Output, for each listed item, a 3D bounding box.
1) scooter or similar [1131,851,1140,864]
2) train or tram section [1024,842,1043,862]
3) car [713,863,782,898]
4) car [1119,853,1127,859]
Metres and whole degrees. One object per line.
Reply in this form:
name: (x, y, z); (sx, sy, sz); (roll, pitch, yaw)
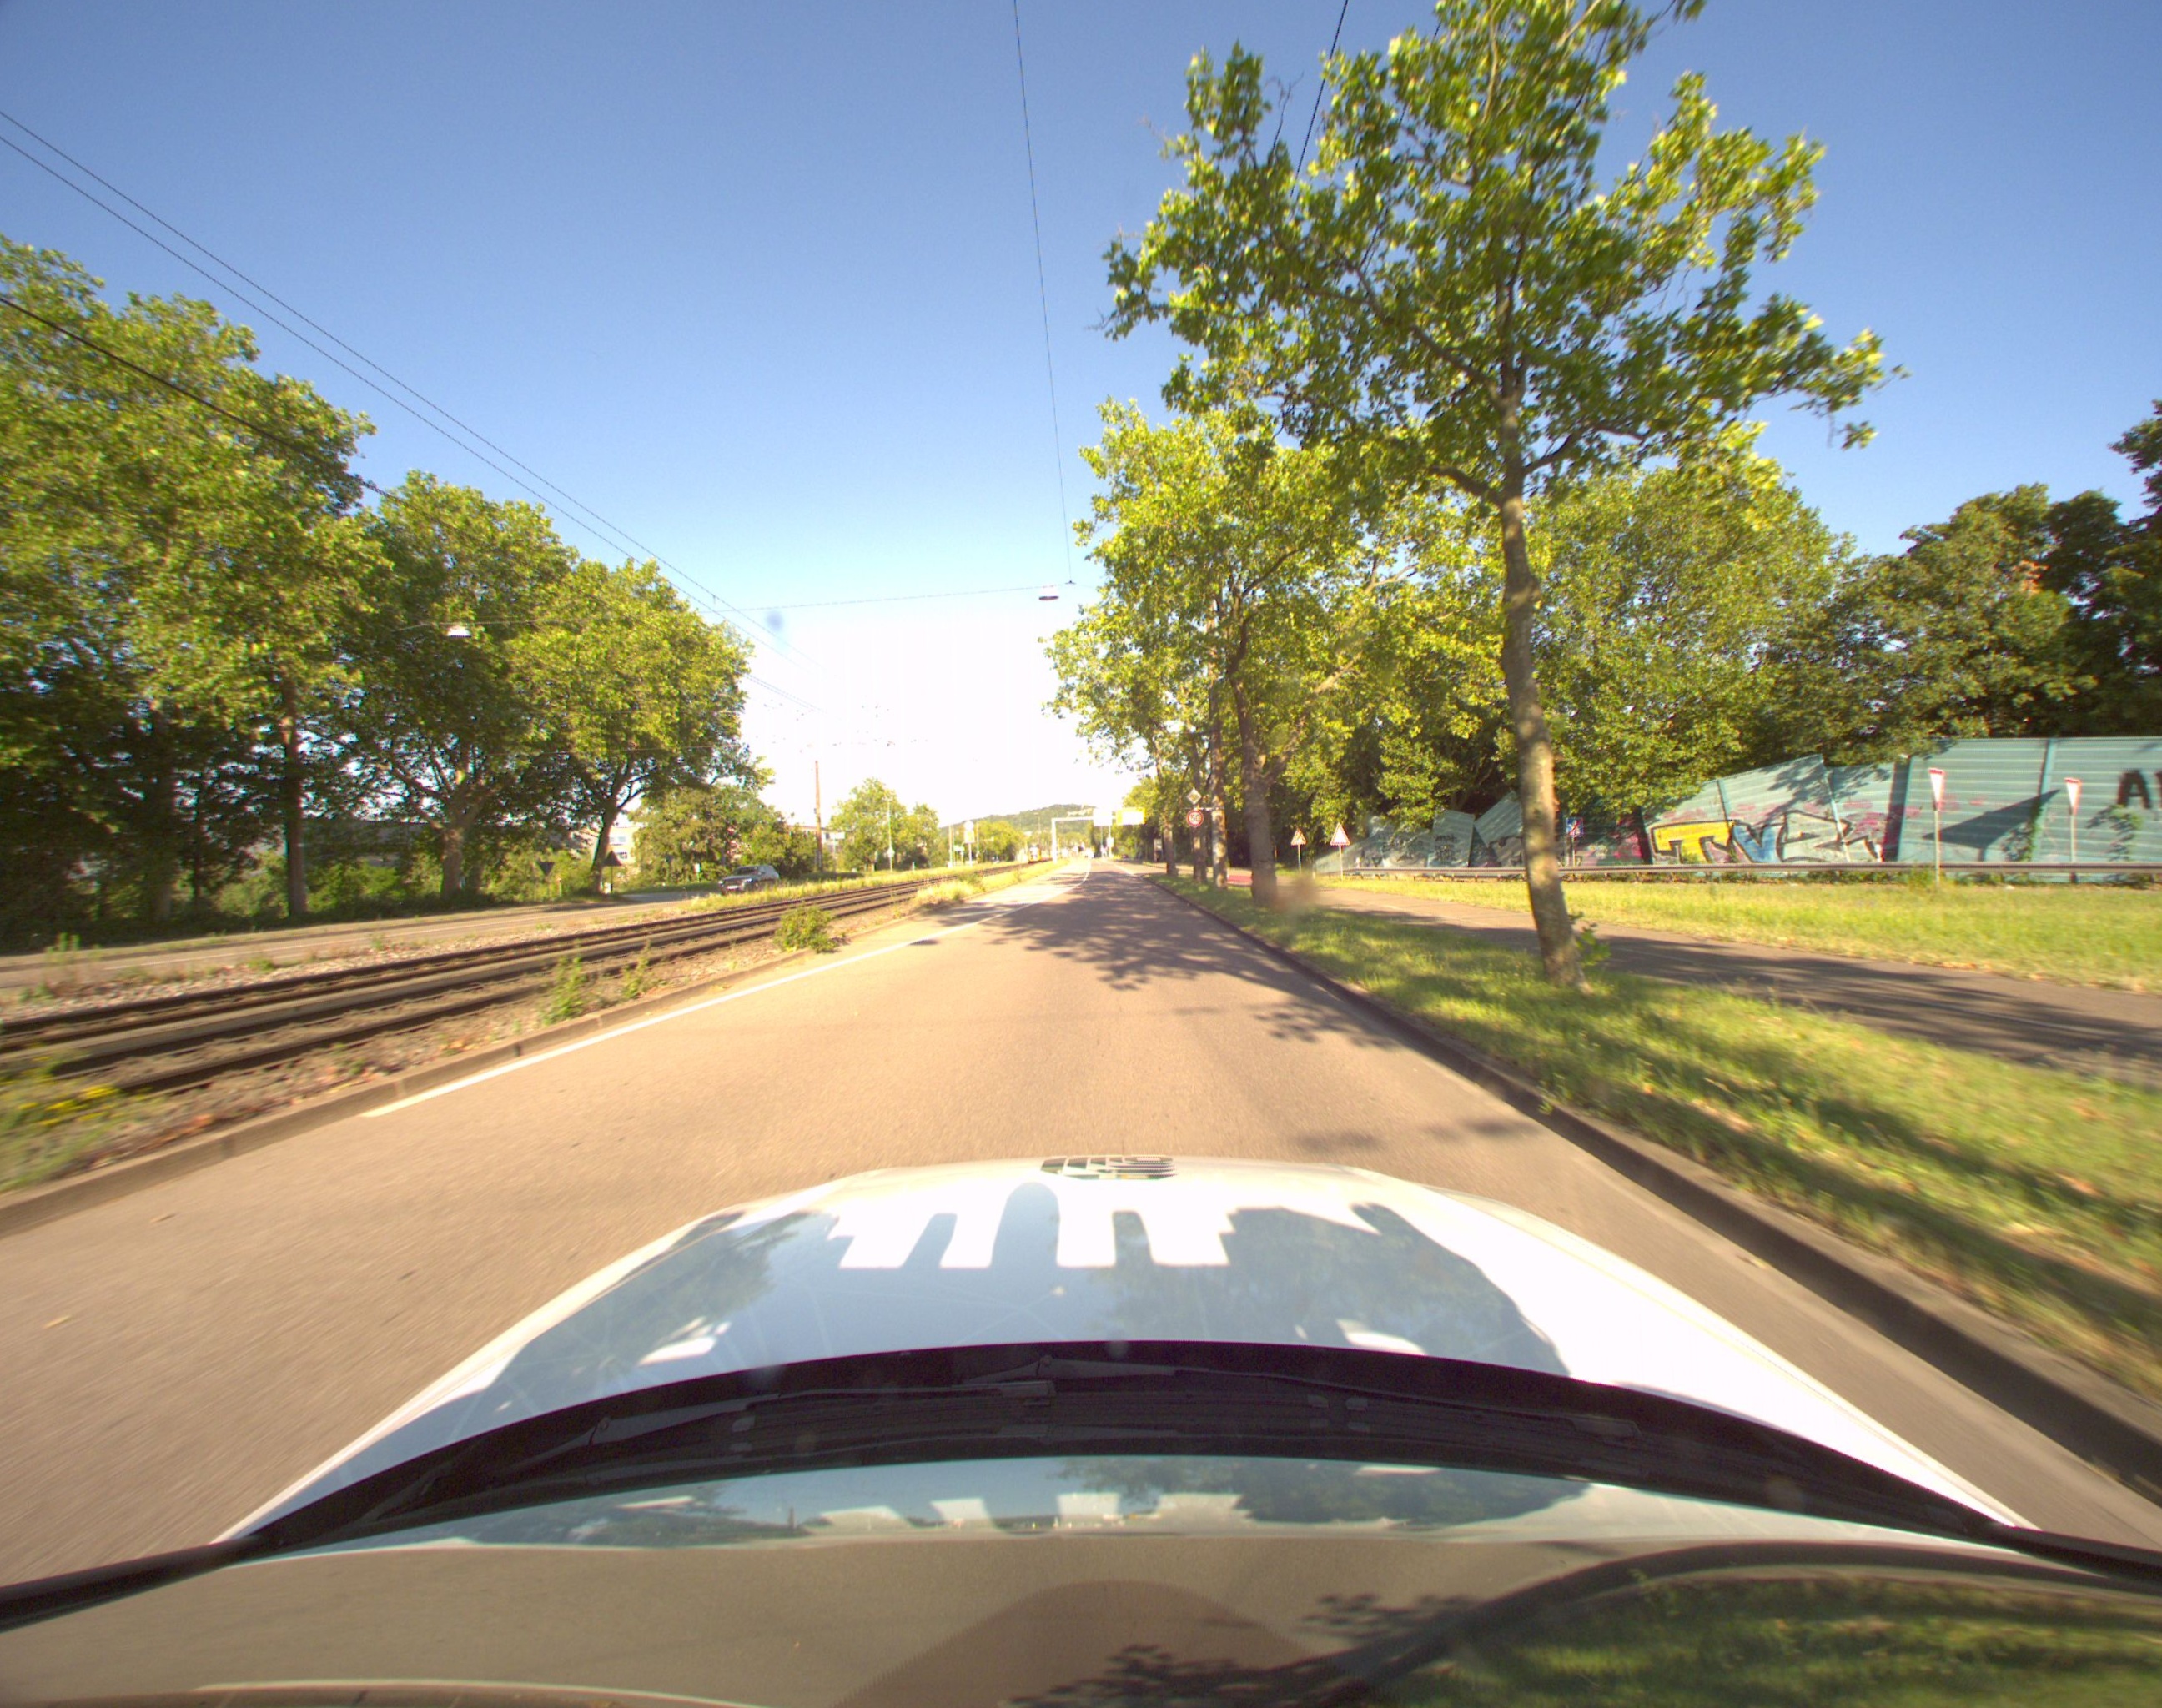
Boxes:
scooter or similar: (12.439, 0.776, 185.726); (1.675, 2.715, 4.869); (-1, 0, 1)
train or tram section: (-9.378, -0.393, 161.957); (2.795, 3.902, 12.330); (-1, 0, 0)
car: (-18.917, 1.447, 46.462); (1.893, 1.694, 4.938); (-4, 0, -1)
car: (12.494, 0.598, 239.822); (2.075, 1.566, 3.962); (-1, 0, 6)
